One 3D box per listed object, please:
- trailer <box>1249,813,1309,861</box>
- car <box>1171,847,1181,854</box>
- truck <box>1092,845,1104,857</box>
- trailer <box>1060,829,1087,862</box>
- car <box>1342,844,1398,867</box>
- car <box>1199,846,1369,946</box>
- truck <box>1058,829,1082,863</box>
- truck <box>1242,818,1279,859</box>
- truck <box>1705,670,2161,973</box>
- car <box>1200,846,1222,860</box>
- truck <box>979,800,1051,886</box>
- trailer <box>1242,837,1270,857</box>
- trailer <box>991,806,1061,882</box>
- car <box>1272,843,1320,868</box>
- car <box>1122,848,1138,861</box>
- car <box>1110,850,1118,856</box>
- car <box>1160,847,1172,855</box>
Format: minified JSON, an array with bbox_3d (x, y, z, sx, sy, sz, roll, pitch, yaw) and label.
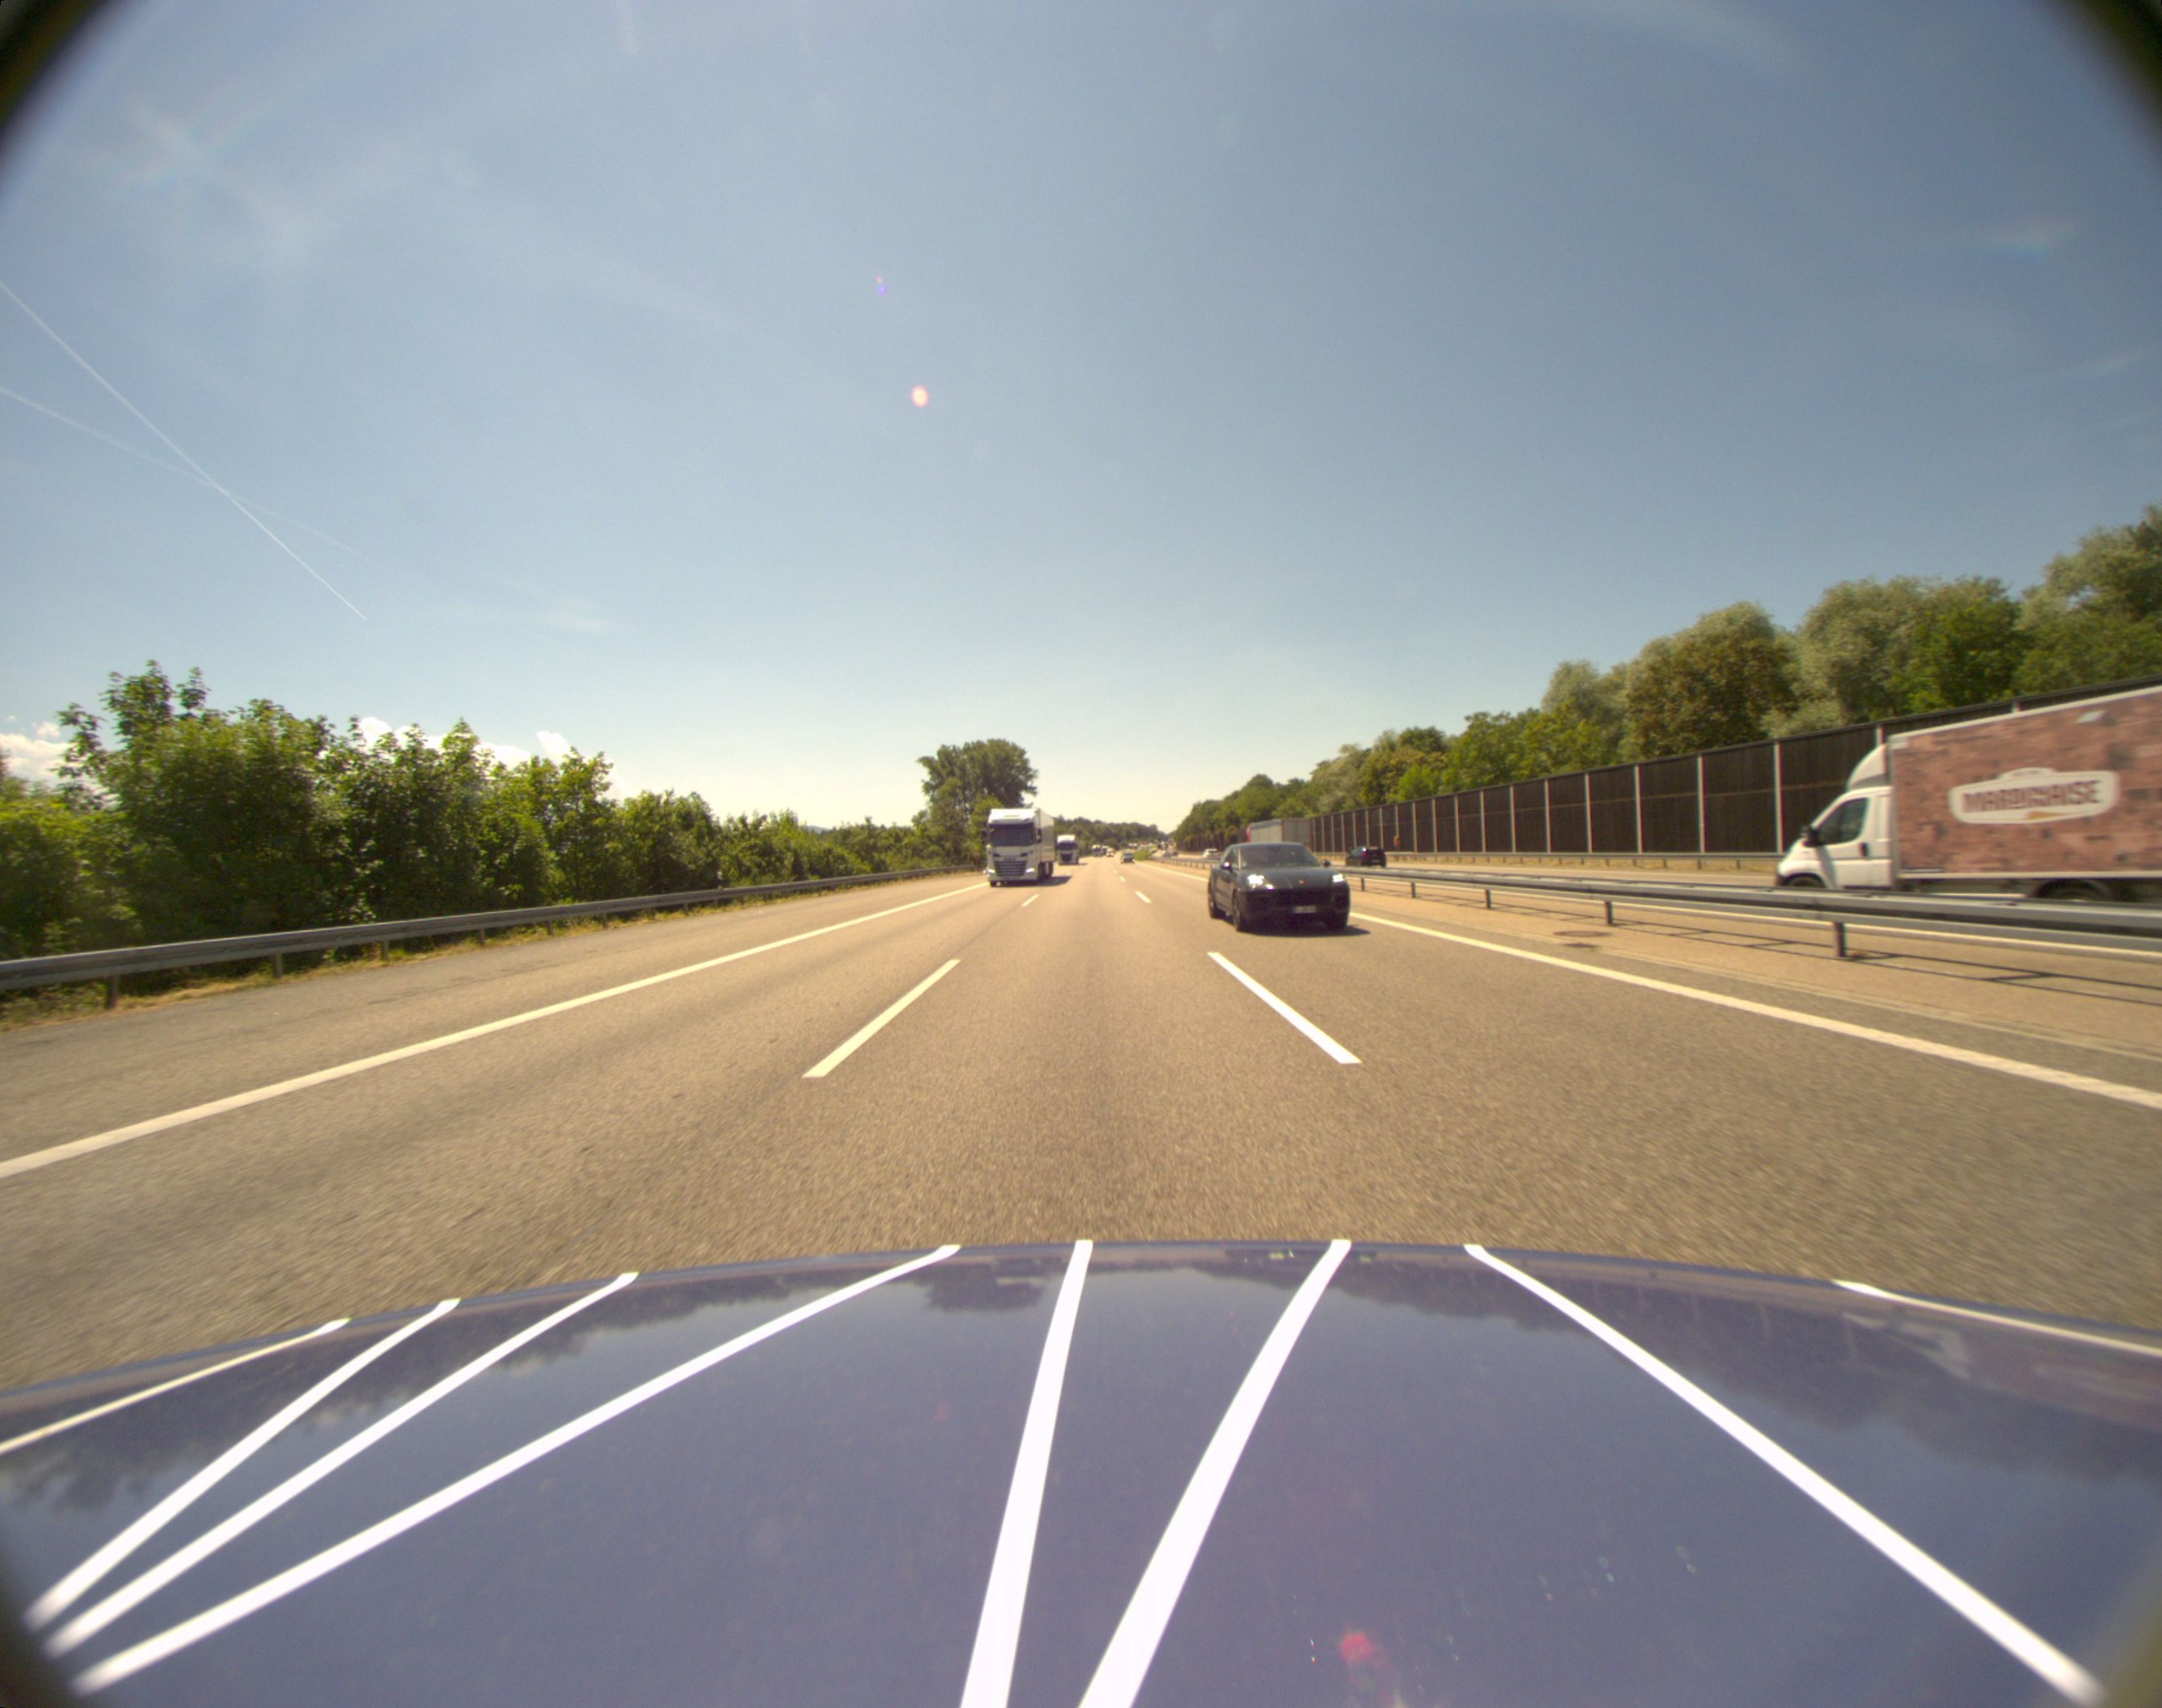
[{"bbox_3d":[18.729,-1.545,73.081,2.347,4.052,14.209,-2,0,2],"label":"trailer"},{"bbox_3d":[23.750,-0.913,189.979,2.129,1.513,5.983,-2,0,3],"label":"car"},{"bbox_3d":[5.781,-1.058,254.885,3.073,3.617,12.404,-2,1,5],"label":"truck"},{"bbox_3d":[-0.951,-1.232,110.346,2.541,4.446,14.163,-2,1,5],"label":"trailer"},{"bbox_3d":[18.635,0.081,49.194,1.924,1.367,4.581,-2,1,1],"label":"car"},{"bbox_3d":[3.847,0.685,15.625,2.048,1.616,5.771,-2,0,1],"label":"car"},{"bbox_3d":[-1.462,-1.153,103.727,2.541,4.446,5.573,-2,1,5],"label":"truck"},{"bbox_3d":[18.918,-1.607,80.403,2.364,4.053,7.153,-2,1,2],"label":"truck"},{"bbox_3d":[13.112,-0.412,11.027,2.416,3.333,6.918,-2,1,0],"label":"truck"},{"bbox_3d":[14.426,-0.142,84.691,1.809,1.535,4.245,-2,1,1],"label":"car"},{"bbox_3d":[-3.341,-0.549,40.264,2.966,4.082,6.207,-2,1,2],"label":"truck"},{"bbox_3d":[22.841,-0.898,99.300,2.136,2.462,6.268,-2,0,1],"label":"trailer"},{"bbox_3d":[-3.152,-0.604,47.812,2.966,4.082,12.533,-2,0,2],"label":"trailer"},{"bbox_3d":[14.113,0.060,50.076,1.924,1.537,4.582,-2,1,2],"label":"car"},{"bbox_3d":[6.756,0.071,103.874,1.908,1.717,4.377,-2,1,6],"label":"car"},{"bbox_3d":[10.560,-0.439,242.831,1.908,1.717,4.872,-2,1,6],"label":"car"},{"bbox_3d":[17.718,-0.614,158.457,1.903,1.512,4.419,-2,0,1],"label":"car"}]
